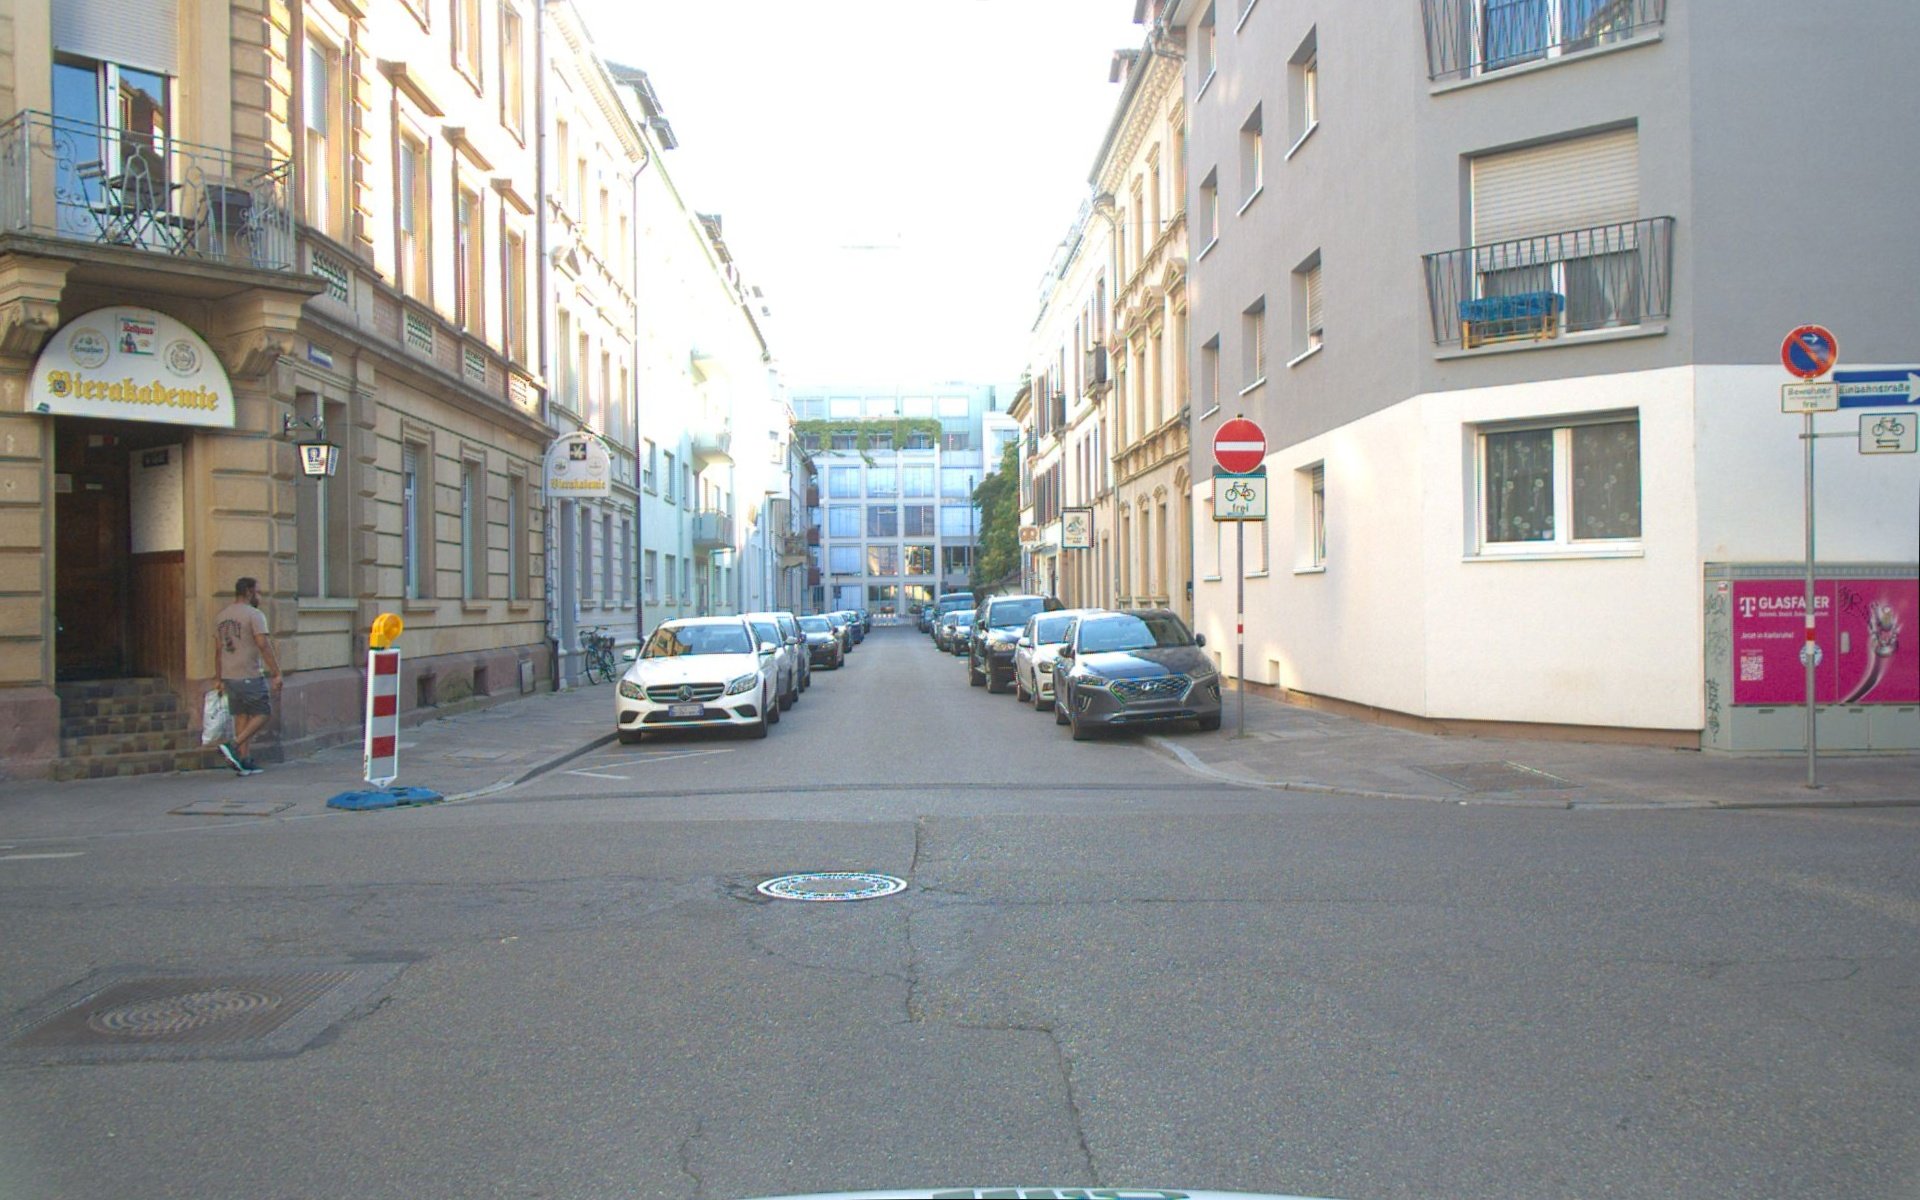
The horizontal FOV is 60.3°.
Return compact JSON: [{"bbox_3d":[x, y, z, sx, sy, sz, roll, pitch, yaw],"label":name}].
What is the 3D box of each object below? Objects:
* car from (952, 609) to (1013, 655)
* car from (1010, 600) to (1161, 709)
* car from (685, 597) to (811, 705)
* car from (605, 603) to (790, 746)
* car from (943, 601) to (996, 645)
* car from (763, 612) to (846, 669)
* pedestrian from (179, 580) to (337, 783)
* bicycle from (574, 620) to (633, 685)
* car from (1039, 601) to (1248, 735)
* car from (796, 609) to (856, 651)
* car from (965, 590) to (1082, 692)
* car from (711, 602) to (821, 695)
[{"bbox_3d":[0.752,1.066,57.052,1.953,1.476,3.999,-1,0,-1],"label":"car"},{"bbox_3d":[1.910,0.807,26.386,1.924,1.584,3.886,-1,0,-3],"label":"car"},{"bbox_3d":[-3.360,0.764,26.820,1.592,1.604,3.753,-1,0,-1],"label":"car"},{"bbox_3d":[-3.271,0.865,21.415,1.954,1.591,4.502,-1,0,-4],"label":"car"},{"bbox_3d":[0.366,0.909,67.578,1.954,1.730,3.998,0,0,-3],"label":"car"},{"bbox_3d":[-4.095,1.038,44.101,1.954,1.378,4.426,-1,0,-3],"label":"car"},{"bbox_3d":[-6.424,0.713,15.140,0.967,1.772,1.011,-1,0,40],"label":"pedestrian"},{"bbox_3d":[-6.957,1.004,32.397,0.722,1.181,2.460,0,0,-2],"label":"bicycle"},{"bbox_3d":[2.138,0.759,20.322,1.900,1.396,3.786,-3,0,-3],"label":"car"},{"bbox_3d":[-4.998,1.101,61.794,2.130,1.443,3.996,-1,0,-5],"label":"car"},{"bbox_3d":[1.152,0.737,31.774,1.856,1.815,3.997,-1,0,-3],"label":"car"},{"bbox_3d":[-3.757,0.899,32.544,1.749,1.688,3.816,-1,0,-1],"label":"car"}]
